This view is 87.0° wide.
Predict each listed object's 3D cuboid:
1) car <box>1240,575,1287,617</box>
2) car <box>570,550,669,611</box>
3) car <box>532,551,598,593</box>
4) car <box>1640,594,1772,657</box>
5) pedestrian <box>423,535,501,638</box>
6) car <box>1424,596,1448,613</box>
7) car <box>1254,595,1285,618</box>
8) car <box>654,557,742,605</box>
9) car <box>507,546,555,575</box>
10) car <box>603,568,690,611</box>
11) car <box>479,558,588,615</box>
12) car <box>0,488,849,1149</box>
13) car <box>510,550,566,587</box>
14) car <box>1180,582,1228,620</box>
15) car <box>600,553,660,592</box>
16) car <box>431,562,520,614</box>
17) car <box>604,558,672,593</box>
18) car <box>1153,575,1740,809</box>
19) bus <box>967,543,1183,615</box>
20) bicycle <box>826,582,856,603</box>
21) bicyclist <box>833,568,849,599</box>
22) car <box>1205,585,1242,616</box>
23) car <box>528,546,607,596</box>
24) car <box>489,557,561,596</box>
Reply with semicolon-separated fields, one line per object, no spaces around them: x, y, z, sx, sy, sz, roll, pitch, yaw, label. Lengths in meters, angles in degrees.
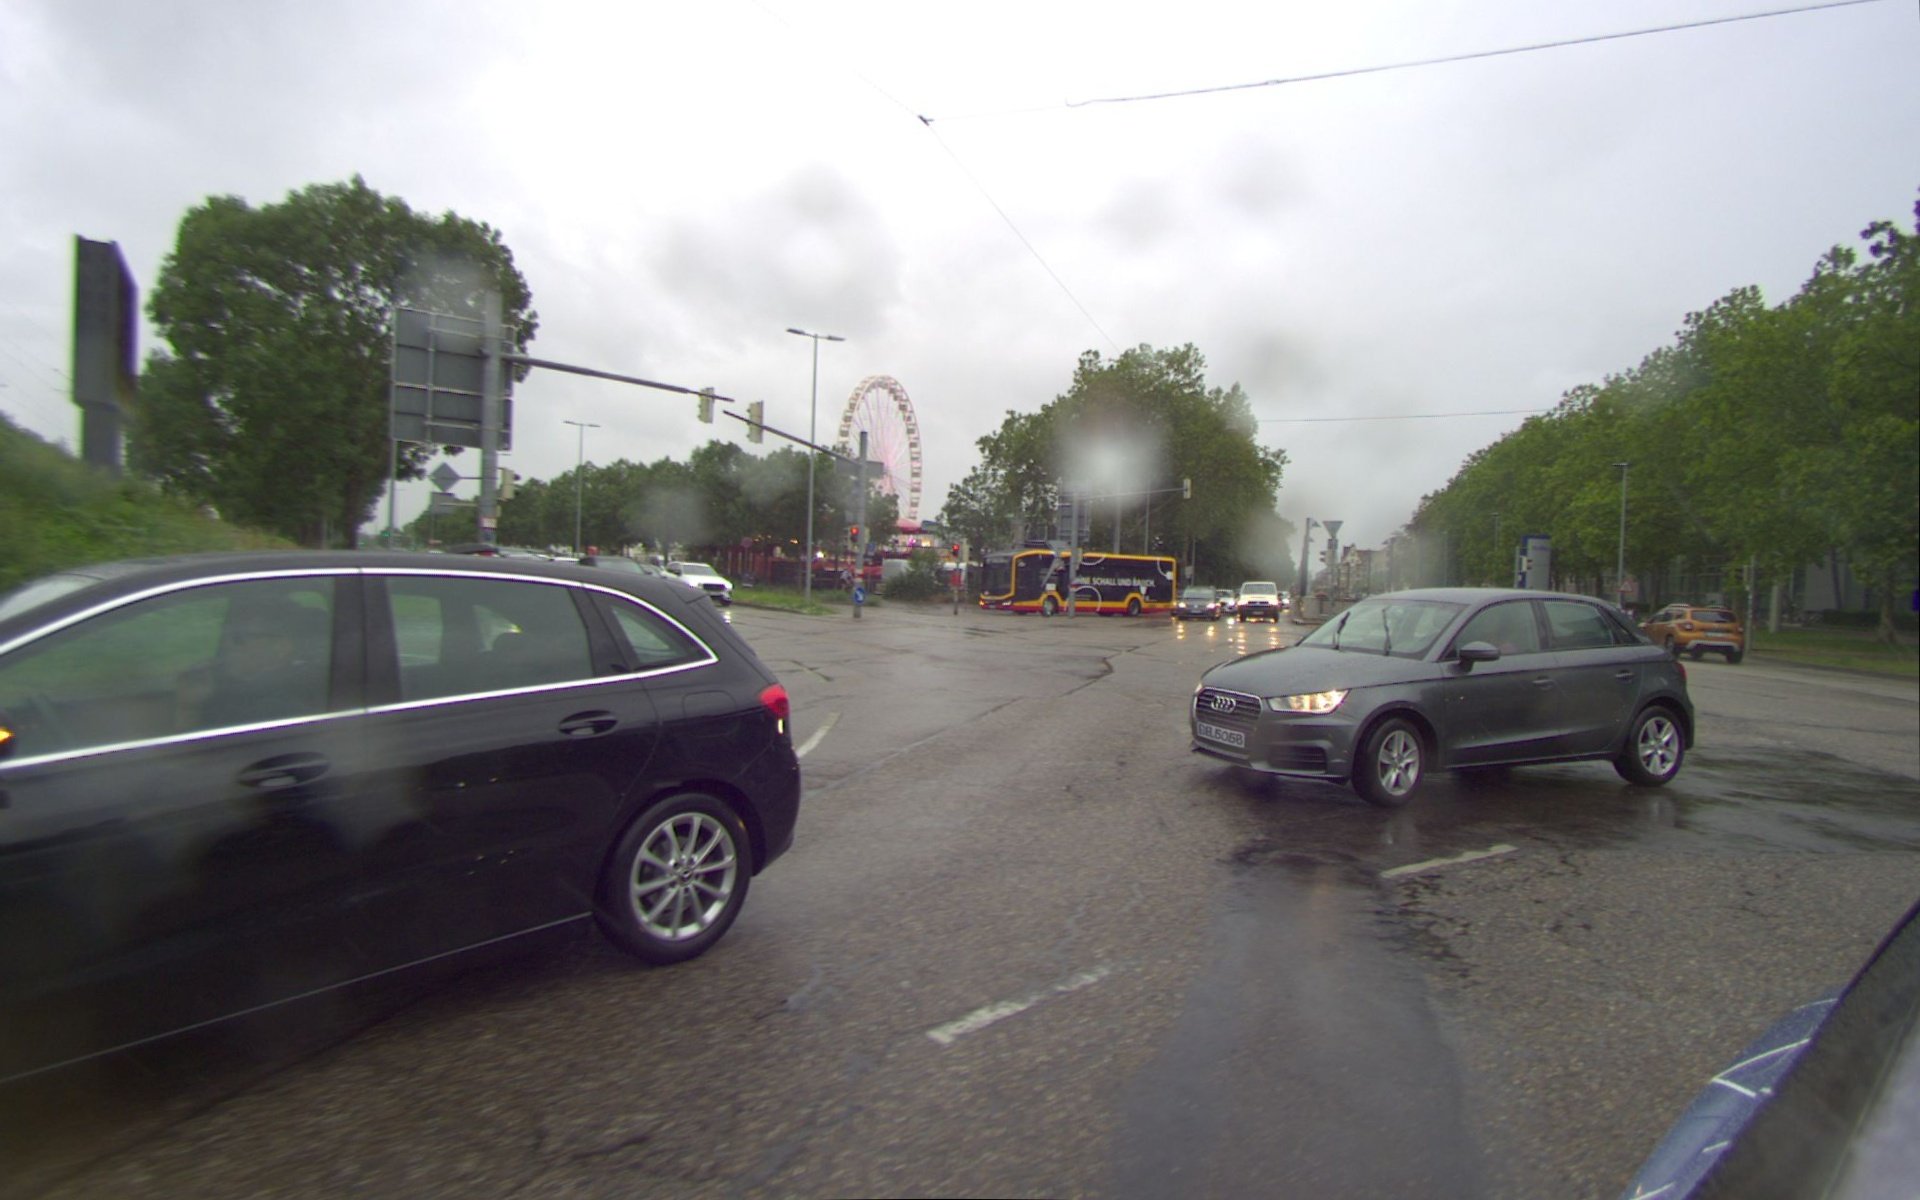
15.043;-0.243;50.057;2.051;1.871;4.719;3;2;18;car
-10.663;-0.641;31.498;1.989;1.677;4.066;2;2;-32;car
-18.276;-1.321;46.696;1.836;1.741;4.000;1;2;-36;car
22.396;0.707;30.599;1.881;1.652;4.147;3;2;17;car
-8.758;-0.238;17.815;0.988;1.740;0.818;2;1;-43;pedestrian
49.248;0.442;104.714;1.820;1.571;3.973;3;2;20;car
24.072;0.479;78.859;1.970;1.557;3.985;2;2;13;car
-10.633;-0.787;40.888;2.134;1.741;4.306;2;2;-33;car
-28.172;-2.579;66.427;1.909;1.741;3.999;1;2;-38;car
-11.626;-0.405;37.398;1.799;1.375;4.000;1;2;-37;car
-11.969;-0.403;28.254;1.863;1.366;4.000;1;2;-37;car
-2.534;0.471;3.381;1.871;1.542;4.022;4;2;43;car
-21.727;-1.637;52.003;1.815;1.741;4.001;1;2;-35;car
11.923;-0.007;49.317;1.908;1.671;4.318;3;2;18;car
-16.562;-1.390;50.646;1.575;1.741;3.999;1;2;-38;car
-15.875;-0.412;33.075;1.799;1.501;3.999;1;2;-38;car
-14.787;-1.143;46.358;1.809;1.441;4.002;1;2;-35;car
3.553;0.547;7.590;3.674;1.415;1.846;0;1;-17;car
6.241;-1.027;52.873;12.056;3.309;3.276;1;2;-36;bus
-7.418;-0.465;63.015;0.807;1.179;2.259;1;2;-38;bicycle
-7.407;-1.006;63.015;0.756;1.905;0.621;1;2;-39;bicyclist
16.852;-0.001;64.806;1.860;1.776;3.990;2;1;9;car
-14.215;-1.077;36.504;1.826;1.630;4.003;2;2;-33;car
-17.644;-0.959;40.956;1.799;1.375;4.000;1;2;-37;car
